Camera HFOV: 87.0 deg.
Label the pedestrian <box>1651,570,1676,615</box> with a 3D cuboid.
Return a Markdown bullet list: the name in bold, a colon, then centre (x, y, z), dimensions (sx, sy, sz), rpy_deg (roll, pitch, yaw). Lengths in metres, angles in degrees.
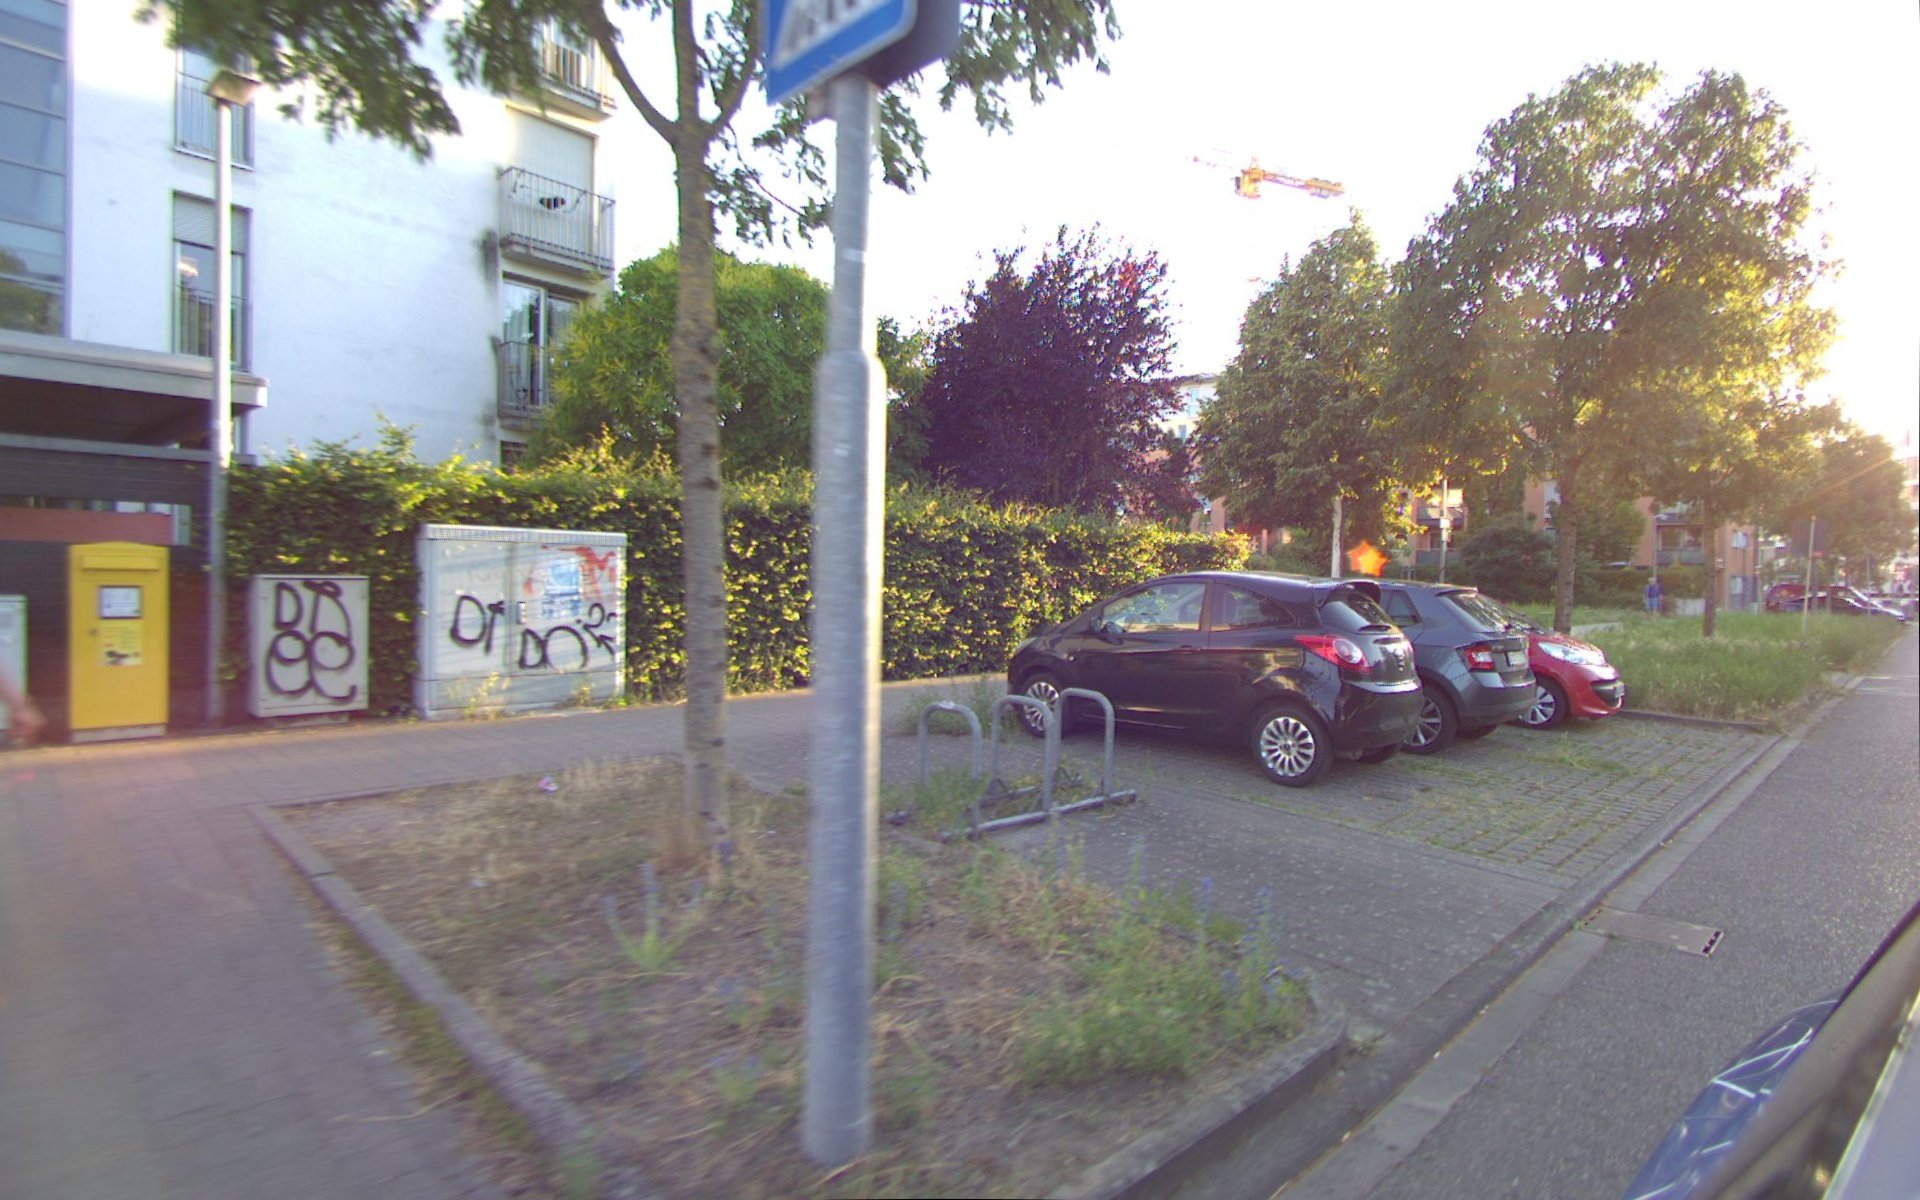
- **pedestrian**: centre (28.115, -0.314, 40.449), dimensions (0.688, 1.765, 0.669), rpy_deg (1, 0, -45)

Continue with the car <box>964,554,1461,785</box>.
- **car**: centre (1.968, 0.399, 8.603), dimensions (3.803, 1.527, 1.653), rpy_deg (2, 2, 44)

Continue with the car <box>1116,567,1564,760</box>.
- **car**: centre (3.586, 0.460, 9.982), dimensions (3.803, 1.527, 1.652), rpy_deg (2, 1, 44)

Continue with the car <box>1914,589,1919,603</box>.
- **car**: centre (117.908, -0.475, 122.932), dimensions (1.779, 1.707, 3.965), rpy_deg (1, 1, 25)

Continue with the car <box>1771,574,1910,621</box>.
- **car**: centre (42.731, -0.166, 49.183), dimensions (1.983, 2.143, 4.925), rpy_deg (0, 1, -43)

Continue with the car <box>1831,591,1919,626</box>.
- **car**: centre (45.388, 0.408, 49.924), dimensions (1.589, 1.483, 3.529), rpy_deg (0, 3, -44)

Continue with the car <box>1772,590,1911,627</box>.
- **car**: centre (40.730, 0.361, 46.853), dimensions (1.781, 1.576, 4.674), rpy_deg (0, 1, -43)

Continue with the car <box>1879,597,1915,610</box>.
- **car**: centre (119.672, 0.473, 129.279), dimensions (1.773, 1.571, 3.978), rpy_deg (-1, 0, 17)

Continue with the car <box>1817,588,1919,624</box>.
- **car**: centre (46.840, 0.277, 51.924), dimensions (1.763, 1.588, 4.220), rpy_deg (0, 3, -44)

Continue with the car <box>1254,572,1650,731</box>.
- **car**: centre (5.554, 0.461, 11.716), dimensions (3.803, 1.527, 1.652), rpy_deg (2, 1, 44)

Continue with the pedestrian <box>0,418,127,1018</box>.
- **pedestrian**: centre (-3.132, 0.327, 2.928), dimensions (0.743, 1.713, 1.025), rpy_deg (1, 3, -15)
